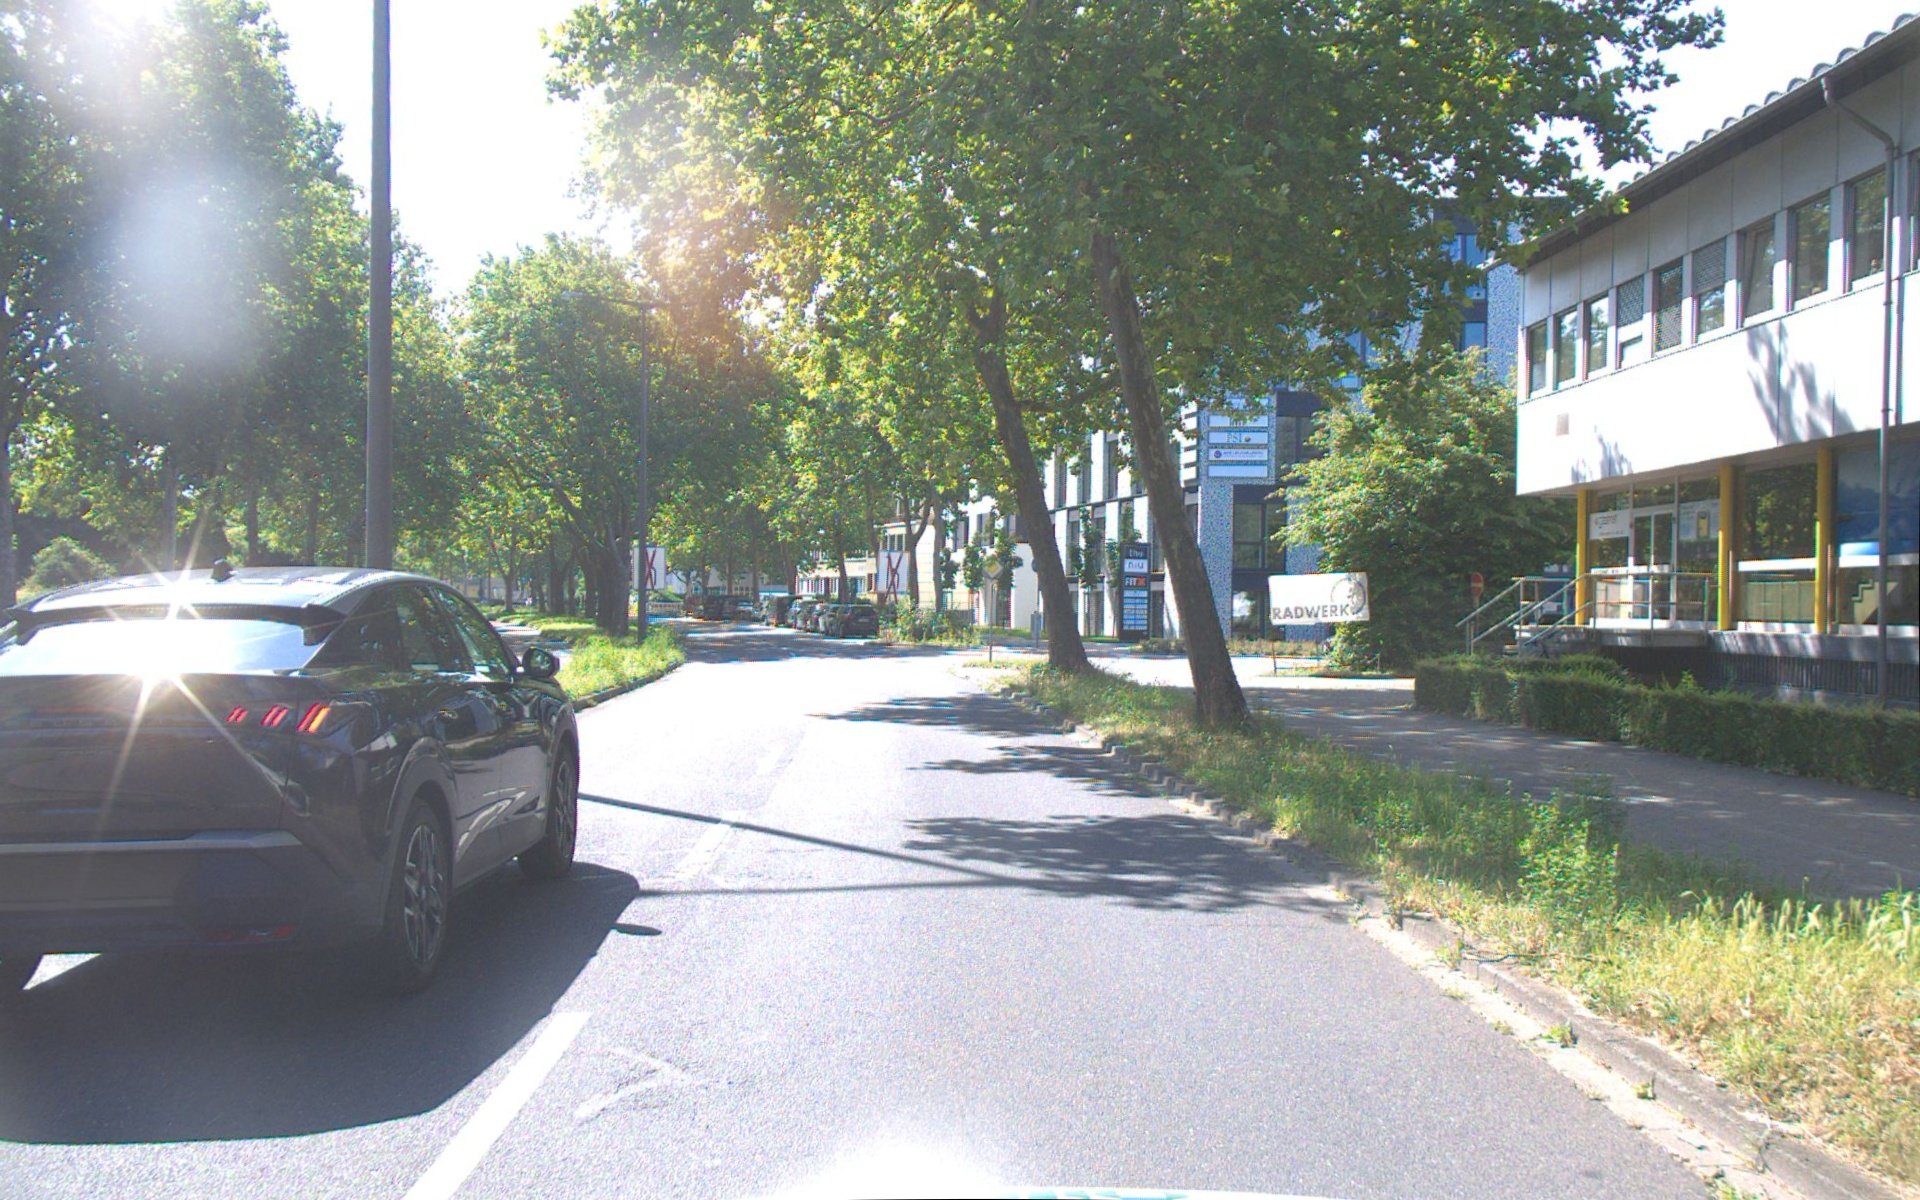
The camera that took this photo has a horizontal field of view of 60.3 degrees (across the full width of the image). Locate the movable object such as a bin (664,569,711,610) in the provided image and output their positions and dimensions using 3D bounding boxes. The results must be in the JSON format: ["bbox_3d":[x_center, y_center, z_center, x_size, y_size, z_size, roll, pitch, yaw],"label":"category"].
[{"bbox_3d":[-22.183,-0.877,134.628,2.315,3.297,3.379,0,0,-41],"label":"movable object such as a bin"}]

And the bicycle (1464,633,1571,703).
[{"bbox_3d":[9.487,1.159,28.161,1.635,1.150,0.509,-1,-1,7],"label":"bicycle"}]

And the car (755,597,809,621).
[{"bbox_3d":[-12.588,0.637,116.988,3.498,1.668,1.650,0,0,-19],"label":"car"}]

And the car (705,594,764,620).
[{"bbox_3d":[-16.784,0.522,123.118,4.063,1.912,1.764,0,0,-34],"label":"car"}]

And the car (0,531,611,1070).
[{"bbox_3d":[-2.924,0.657,7.563,1.834,1.726,4.434,-1,0,-2],"label":"car"}]

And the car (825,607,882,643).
[{"bbox_3d":[-4.851,1.095,74.807,1.678,1.513,4.700,-1,1,-15],"label":"car"}]

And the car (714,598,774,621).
[{"bbox_3d":[-15.874,0.710,121.518,4.060,1.662,1.694,0,0,-32],"label":"car"}]

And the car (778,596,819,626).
[{"bbox_3d":[-9.564,0.613,97.690,1.679,1.698,4.514,0,0,-16],"label":"car"}]

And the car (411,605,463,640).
[{"bbox_3d":[-25.260,1.063,79.986,1.761,1.583,4.386,-1,0,-9],"label":"car"}]

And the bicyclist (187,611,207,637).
[{"bbox_3d":[-30.794,0.966,66.772,0.421,1.031,1.421,0,0,-11],"label":"bicyclist"}]

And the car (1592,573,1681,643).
[{"bbox_3d":[17.615,0.218,42.965,1.644,1.691,3.741,-2,-1,29],"label":"car"}]

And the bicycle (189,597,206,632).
[{"bbox_3d":[-30.796,0.587,66.802,0.421,1.409,0.952,0,0,-11],"label":"bicycle"}]

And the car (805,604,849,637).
[{"bbox_3d":[-6.493,0.983,80.401,1.676,1.513,4.090,0,0,-11],"label":"car"}]

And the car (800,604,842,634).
[{"bbox_3d":[-7.227,0.947,85.460,1.676,1.480,4.643,0,0,-11],"label":"car"}]
